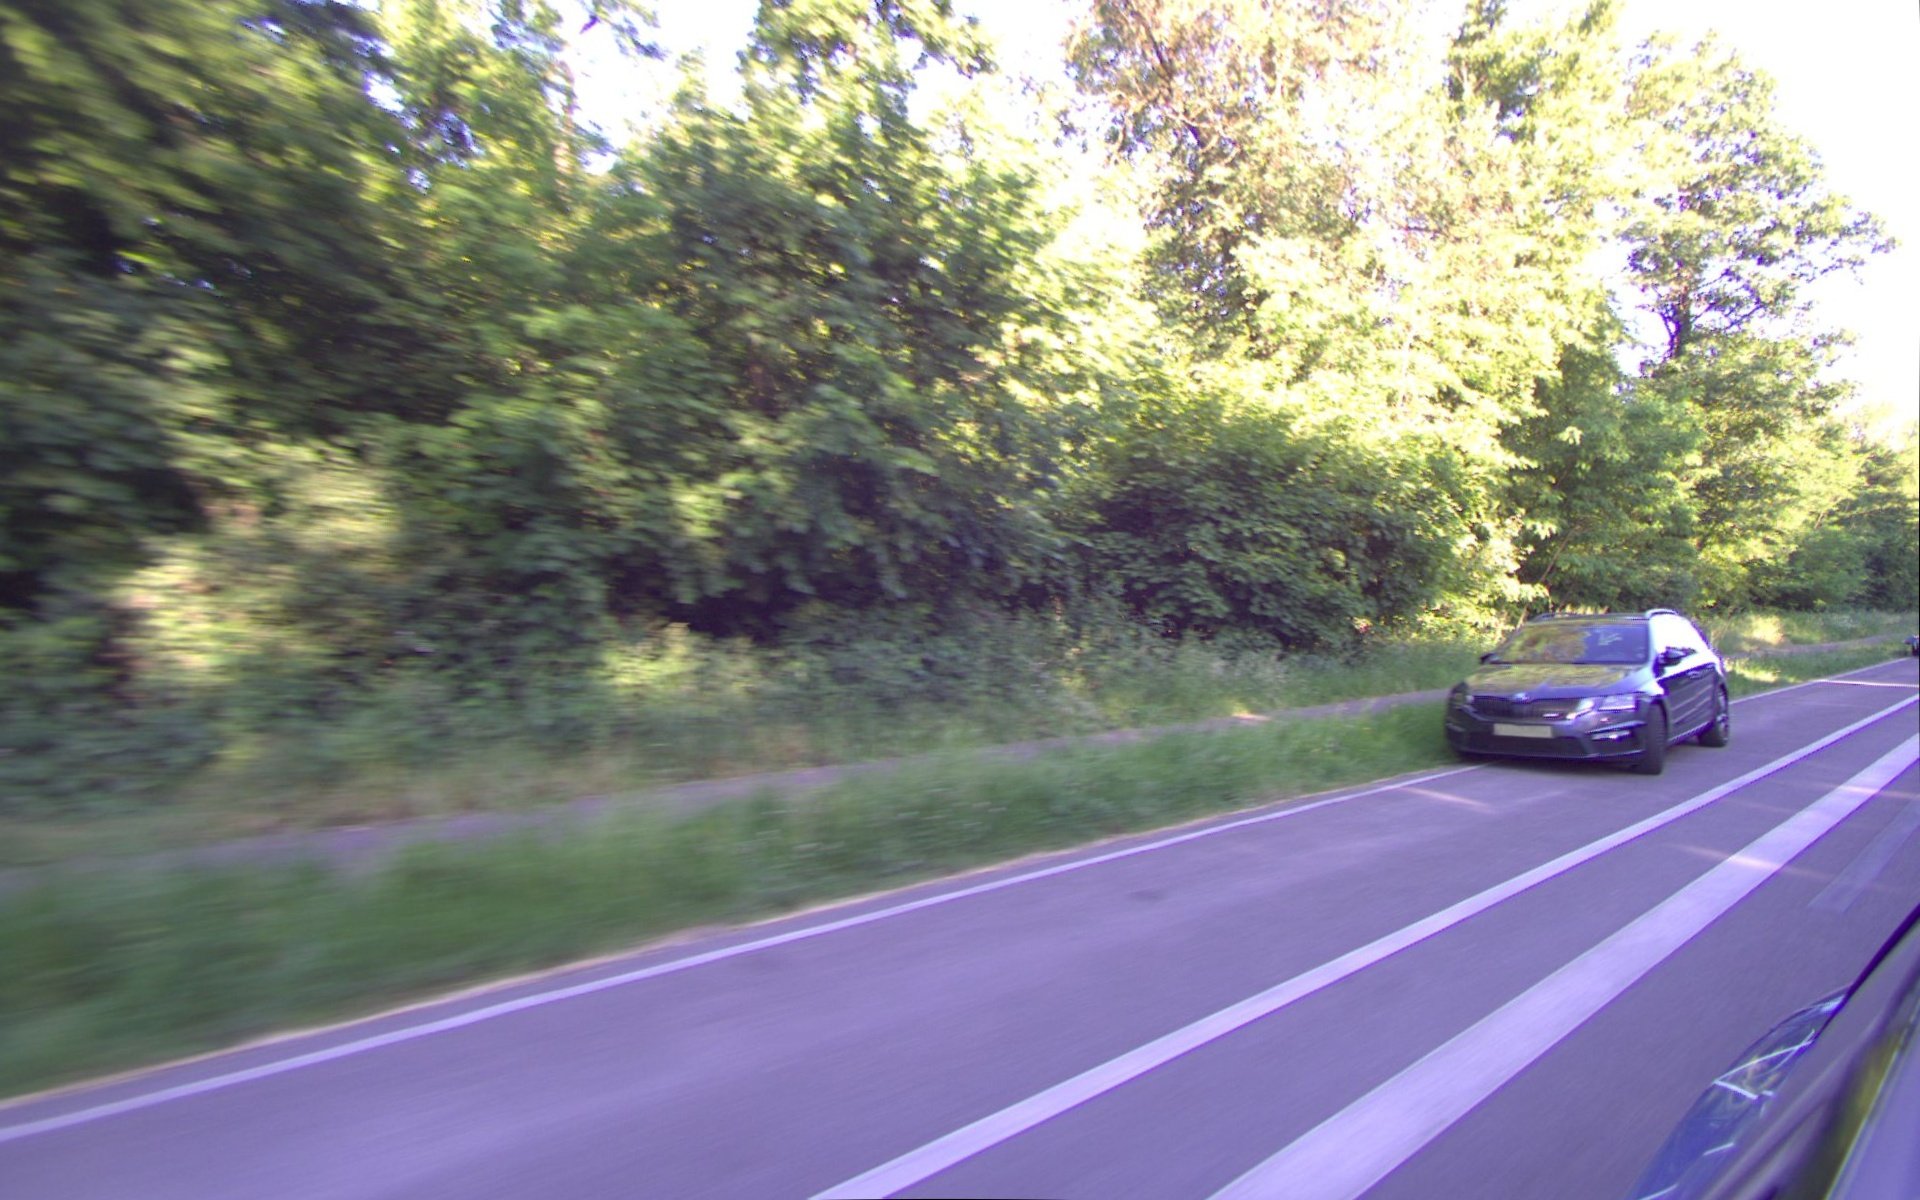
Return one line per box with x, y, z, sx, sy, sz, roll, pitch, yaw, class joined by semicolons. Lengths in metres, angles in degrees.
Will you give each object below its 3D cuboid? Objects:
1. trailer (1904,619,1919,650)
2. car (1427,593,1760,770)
30.189;1.010;30.163;5.560;0.808;2.437;-1;1;-41;trailer
6.689;0.690;10.458;4.520;1.439;1.835;0;-2;-44;car
